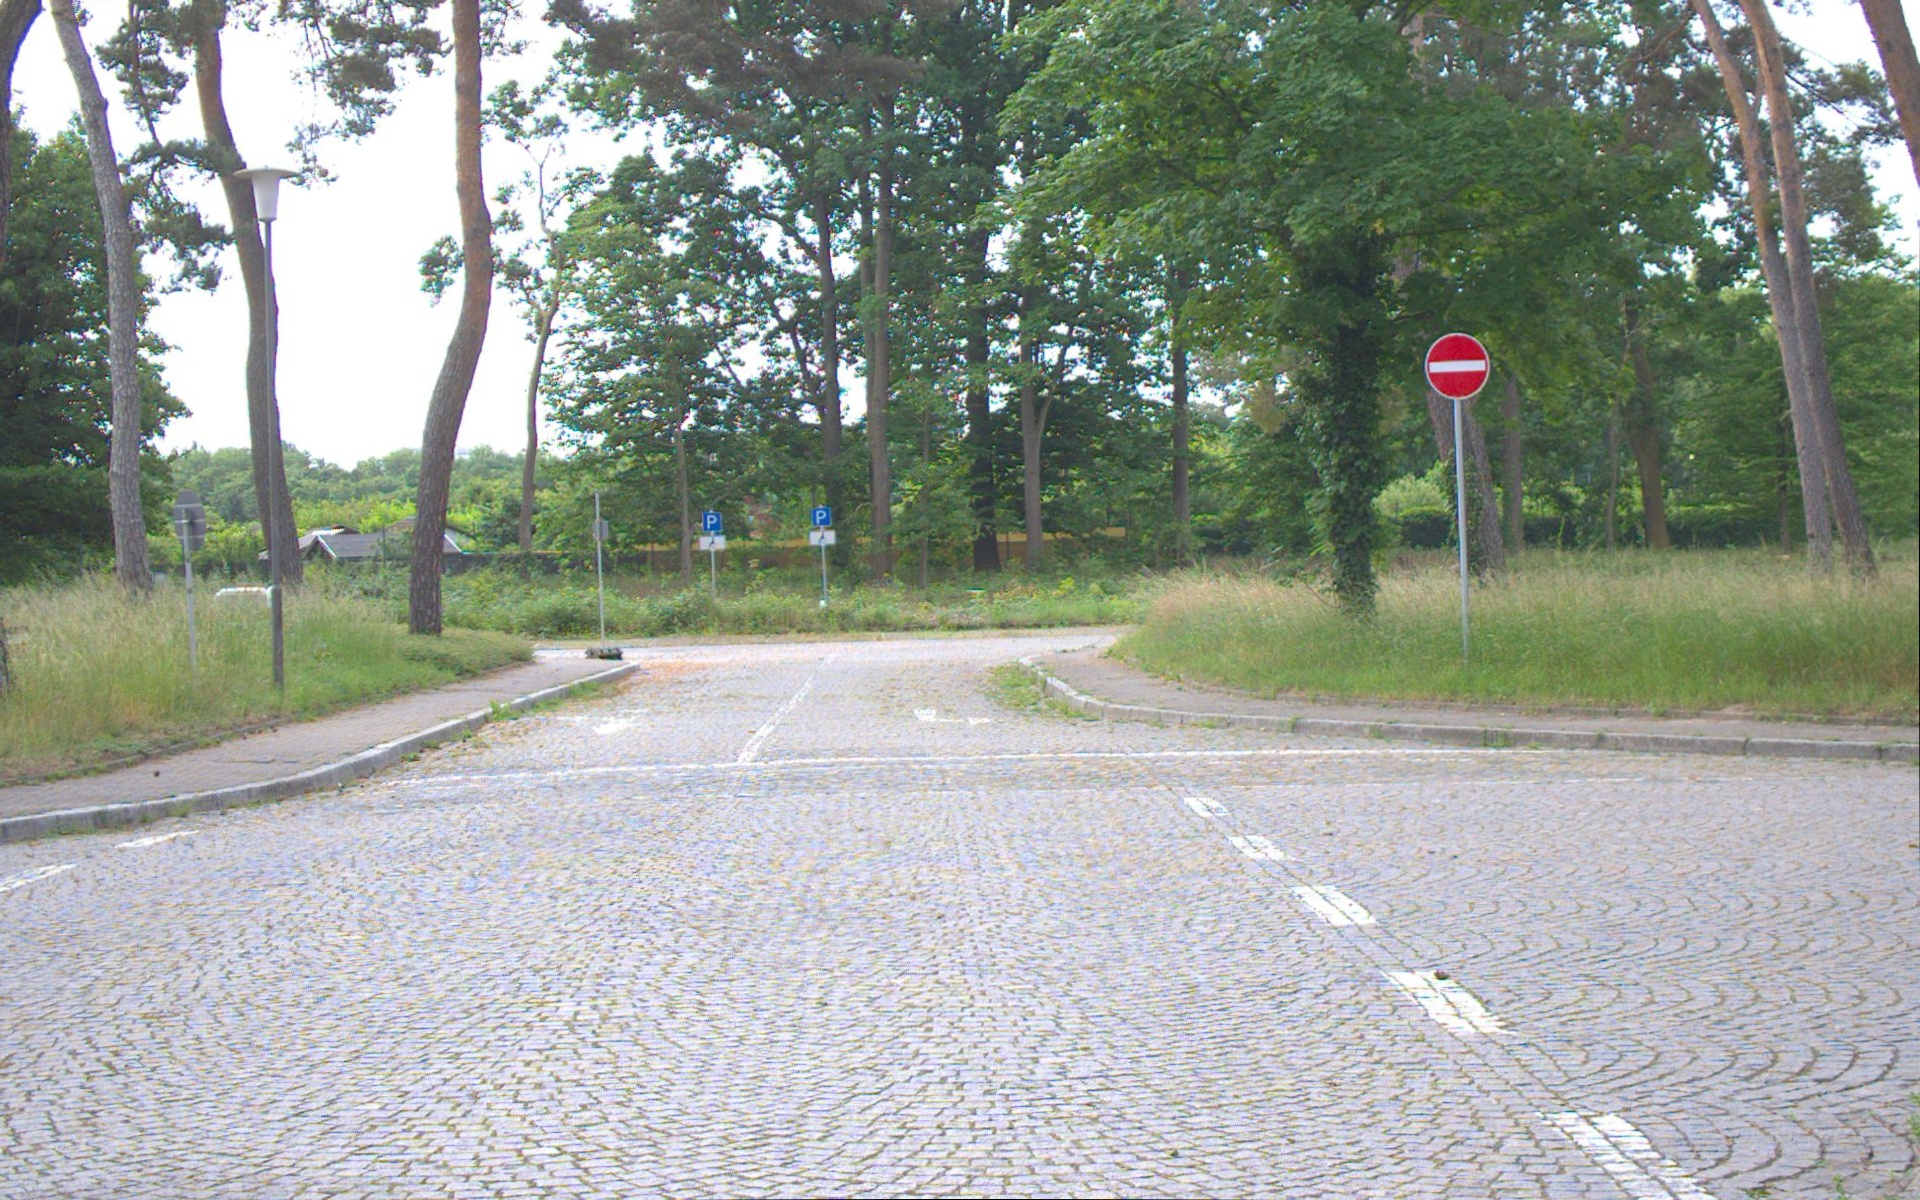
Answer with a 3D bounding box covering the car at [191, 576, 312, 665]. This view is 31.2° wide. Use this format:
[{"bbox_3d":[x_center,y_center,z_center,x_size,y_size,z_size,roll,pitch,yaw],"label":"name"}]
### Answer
[{"bbox_3d":[-15.158,0.419,73.689,1.993,1.840,4.001,0,1,-3],"label":"car"}]
